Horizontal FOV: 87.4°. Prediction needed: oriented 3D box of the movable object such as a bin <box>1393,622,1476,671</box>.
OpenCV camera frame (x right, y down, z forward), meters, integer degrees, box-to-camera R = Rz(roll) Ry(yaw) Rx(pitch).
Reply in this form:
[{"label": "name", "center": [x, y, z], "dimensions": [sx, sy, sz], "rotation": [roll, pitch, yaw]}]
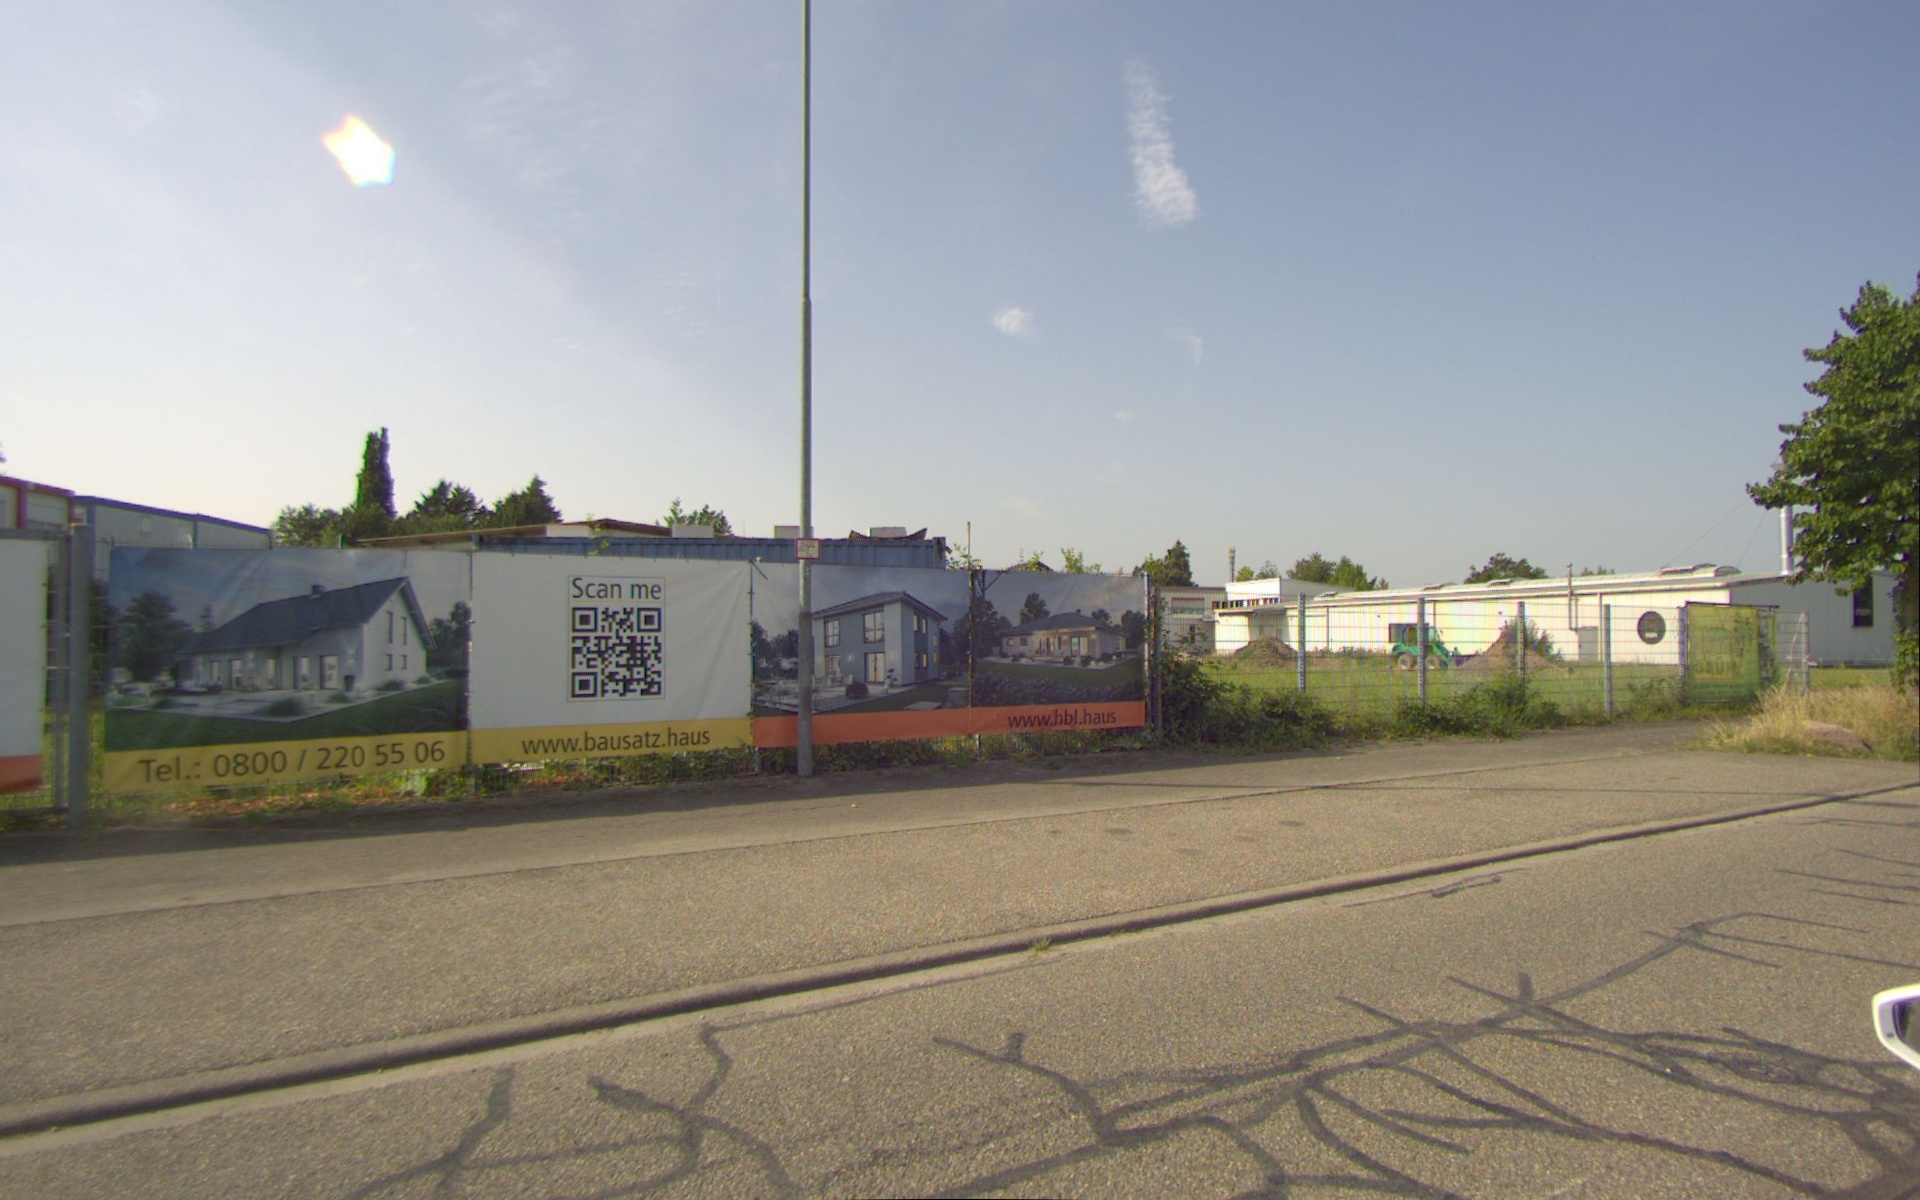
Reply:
[{"label": "movable object such as a bin", "center": [25.343, 2.489, 53.839], "dimensions": [2.209, 2.488, 4.305], "rotation": [0, -2, -4]}]
